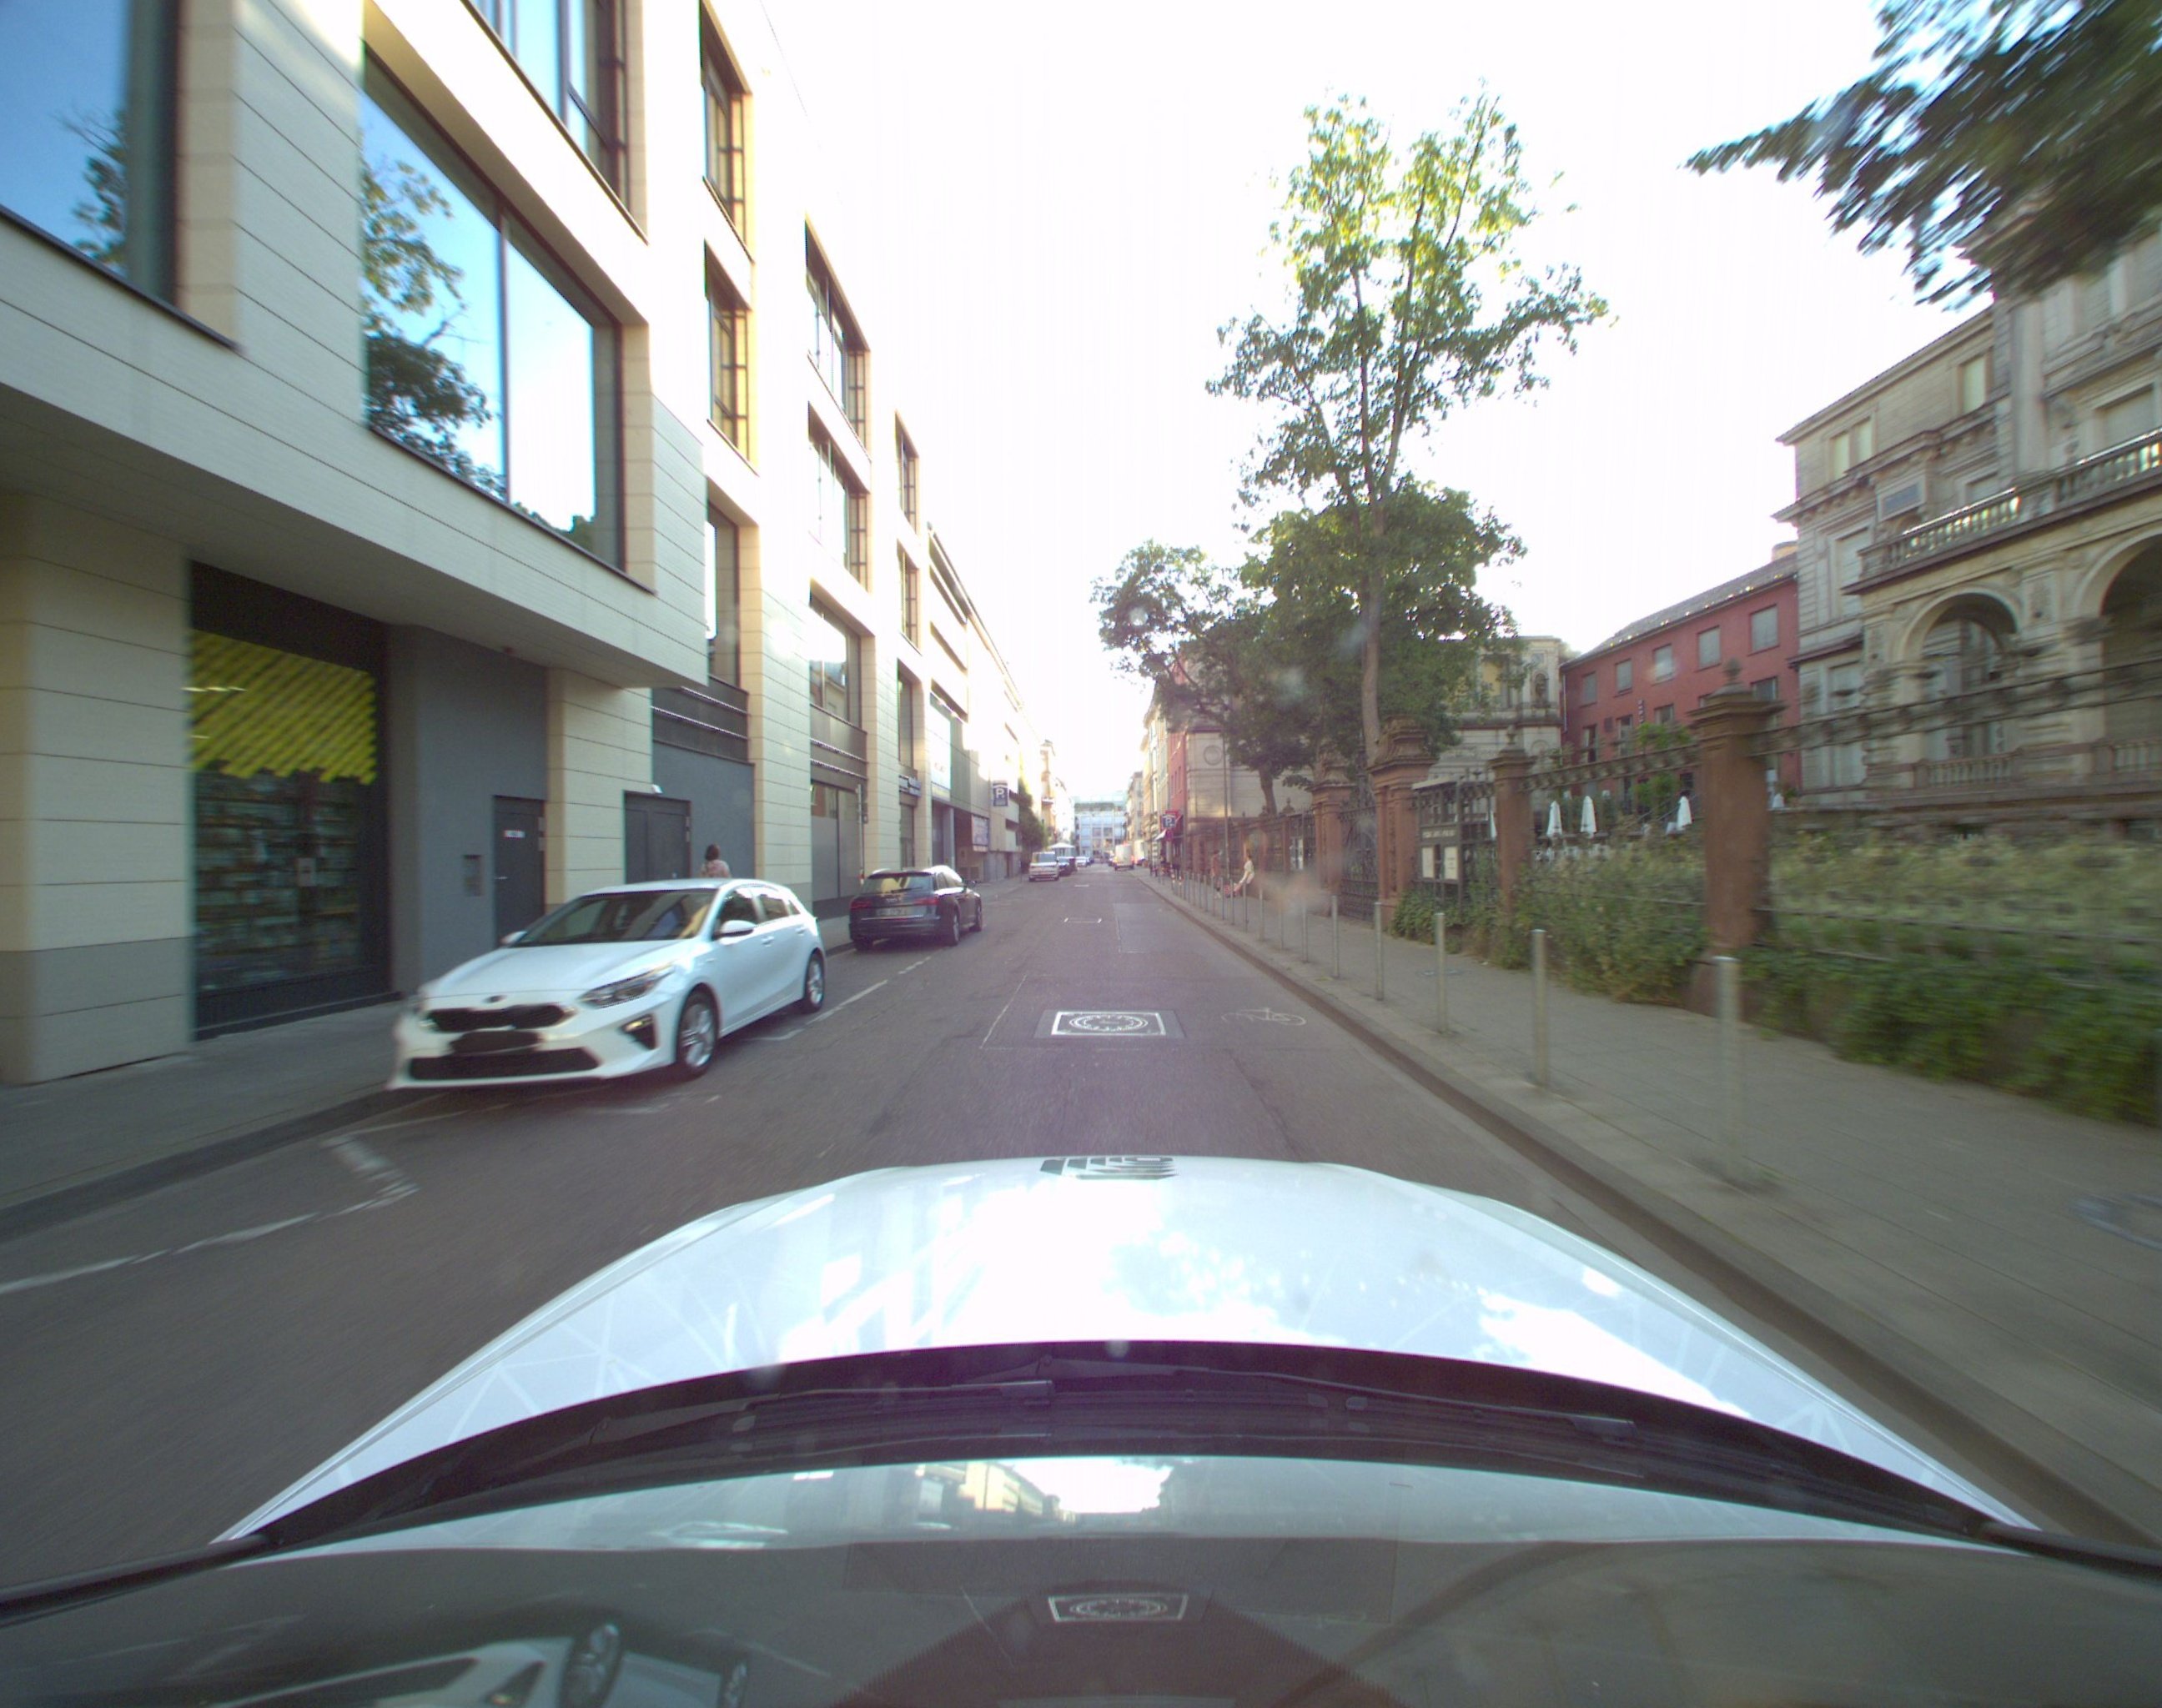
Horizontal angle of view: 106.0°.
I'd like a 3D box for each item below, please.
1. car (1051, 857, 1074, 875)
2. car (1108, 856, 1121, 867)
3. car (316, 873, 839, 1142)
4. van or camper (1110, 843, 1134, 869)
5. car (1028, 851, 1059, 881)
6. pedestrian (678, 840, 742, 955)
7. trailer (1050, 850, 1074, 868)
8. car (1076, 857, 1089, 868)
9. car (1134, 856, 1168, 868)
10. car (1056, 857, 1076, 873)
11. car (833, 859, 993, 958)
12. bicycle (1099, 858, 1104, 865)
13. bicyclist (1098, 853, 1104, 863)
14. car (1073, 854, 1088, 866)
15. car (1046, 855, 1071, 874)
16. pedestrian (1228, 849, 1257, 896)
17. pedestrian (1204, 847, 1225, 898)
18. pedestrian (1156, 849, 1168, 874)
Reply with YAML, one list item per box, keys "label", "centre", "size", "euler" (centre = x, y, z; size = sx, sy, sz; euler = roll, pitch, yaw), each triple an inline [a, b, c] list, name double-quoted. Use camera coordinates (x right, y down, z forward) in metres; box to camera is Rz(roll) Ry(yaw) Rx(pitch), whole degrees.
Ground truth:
- label: "car"
  centre: [-1.542, 1.025, 70.740]
  size: [1.877, 1.453, 3.999]
  euler: [-1, 0, 0]
- label: "car"
  centre: [5.085, 1.173, 124.069]
  size: [1.986, 1.684, 4.001]
  euler: [-1, -1, 2]
- label: "car"
  centre: [-3.578, 0.947, 6.894]
  size: [1.772, 1.453, 4.230]
  euler: [-1, 0, 0]
- label: "van or camper"
  centre: [4.409, 0.244, 87.573]
  size: [2.250, 2.607, 5.113]
  euler: [-5, -1, 1]
- label: "car"
  centre: [-2.454, 0.788, 54.347]
  size: [1.877, 1.912, 4.747]
  euler: [-1, 0, 0]
- label: "pedestrian"
  centre: [-5.822, 0.671, 12.794]
  size: [0.669, 1.744, 0.647]
  euler: [-1, -1, 1]
- label: "trailer"
  centre: [-1.716, 0.490, 74.799]
  size: [1.987, 1.557, 3.999]
  euler: [-1, -1, 0]
- label: "car"
  centre: [0.265, 1.425, 136.326]
  size: [1.986, 1.684, 4.001]
  euler: [-1, -1, 2]
- label: "car"
  centre: [8.468, 0.964, 98.181]
  size: [3.972, 1.420, 1.657]
  euler: [-1, -1, 1]
- label: "car"
  centre: [-1.408, 1.048, 79.325]
  size: [1.877, 1.453, 3.999]
  euler: [-1, 0, 0]
- label: "car"
  centre: [-3.074, 0.935, 15.968]
  size: [1.875, 1.598, 4.693]
  euler: [-1, 0, 3]
- label: "bicycle"
  centre: [3.858, 1.464, 155.682]
  size: [0.971, 1.280, 2.755]
  euler: [-1, -1, 2]
- label: "bicyclist"
  centre: [3.837, 0.776, 155.561]
  size: [0.986, 1.869, 0.708]
  euler: [-1, -1, 1]
- label: "car"
  centre: [-0.035, 0.826, 113.699]
  size: [1.986, 1.684, 4.001]
  euler: [-1, -1, 2]
- label: "car"
  centre: [-1.806, 0.837, 65.565]
  size: [1.877, 1.453, 3.999]
  euler: [-1, 0, 0]
- label: "pedestrian"
  centre: [5.321, 0.607, 26.904]
  size: [0.748, 1.500, 0.618]
  euler: [-3, 0, -4]
- label: "pedestrian"
  centre: [4.438, 0.603, 27.082]
  size: [0.483, 1.658, 0.617]
  euler: [-3, 0, -6]
- label: "pedestrian"
  centre: [5.430, 0.506, 54.387]
  size: [0.659, 1.666, 0.624]
  euler: [-3, 0, 1]
